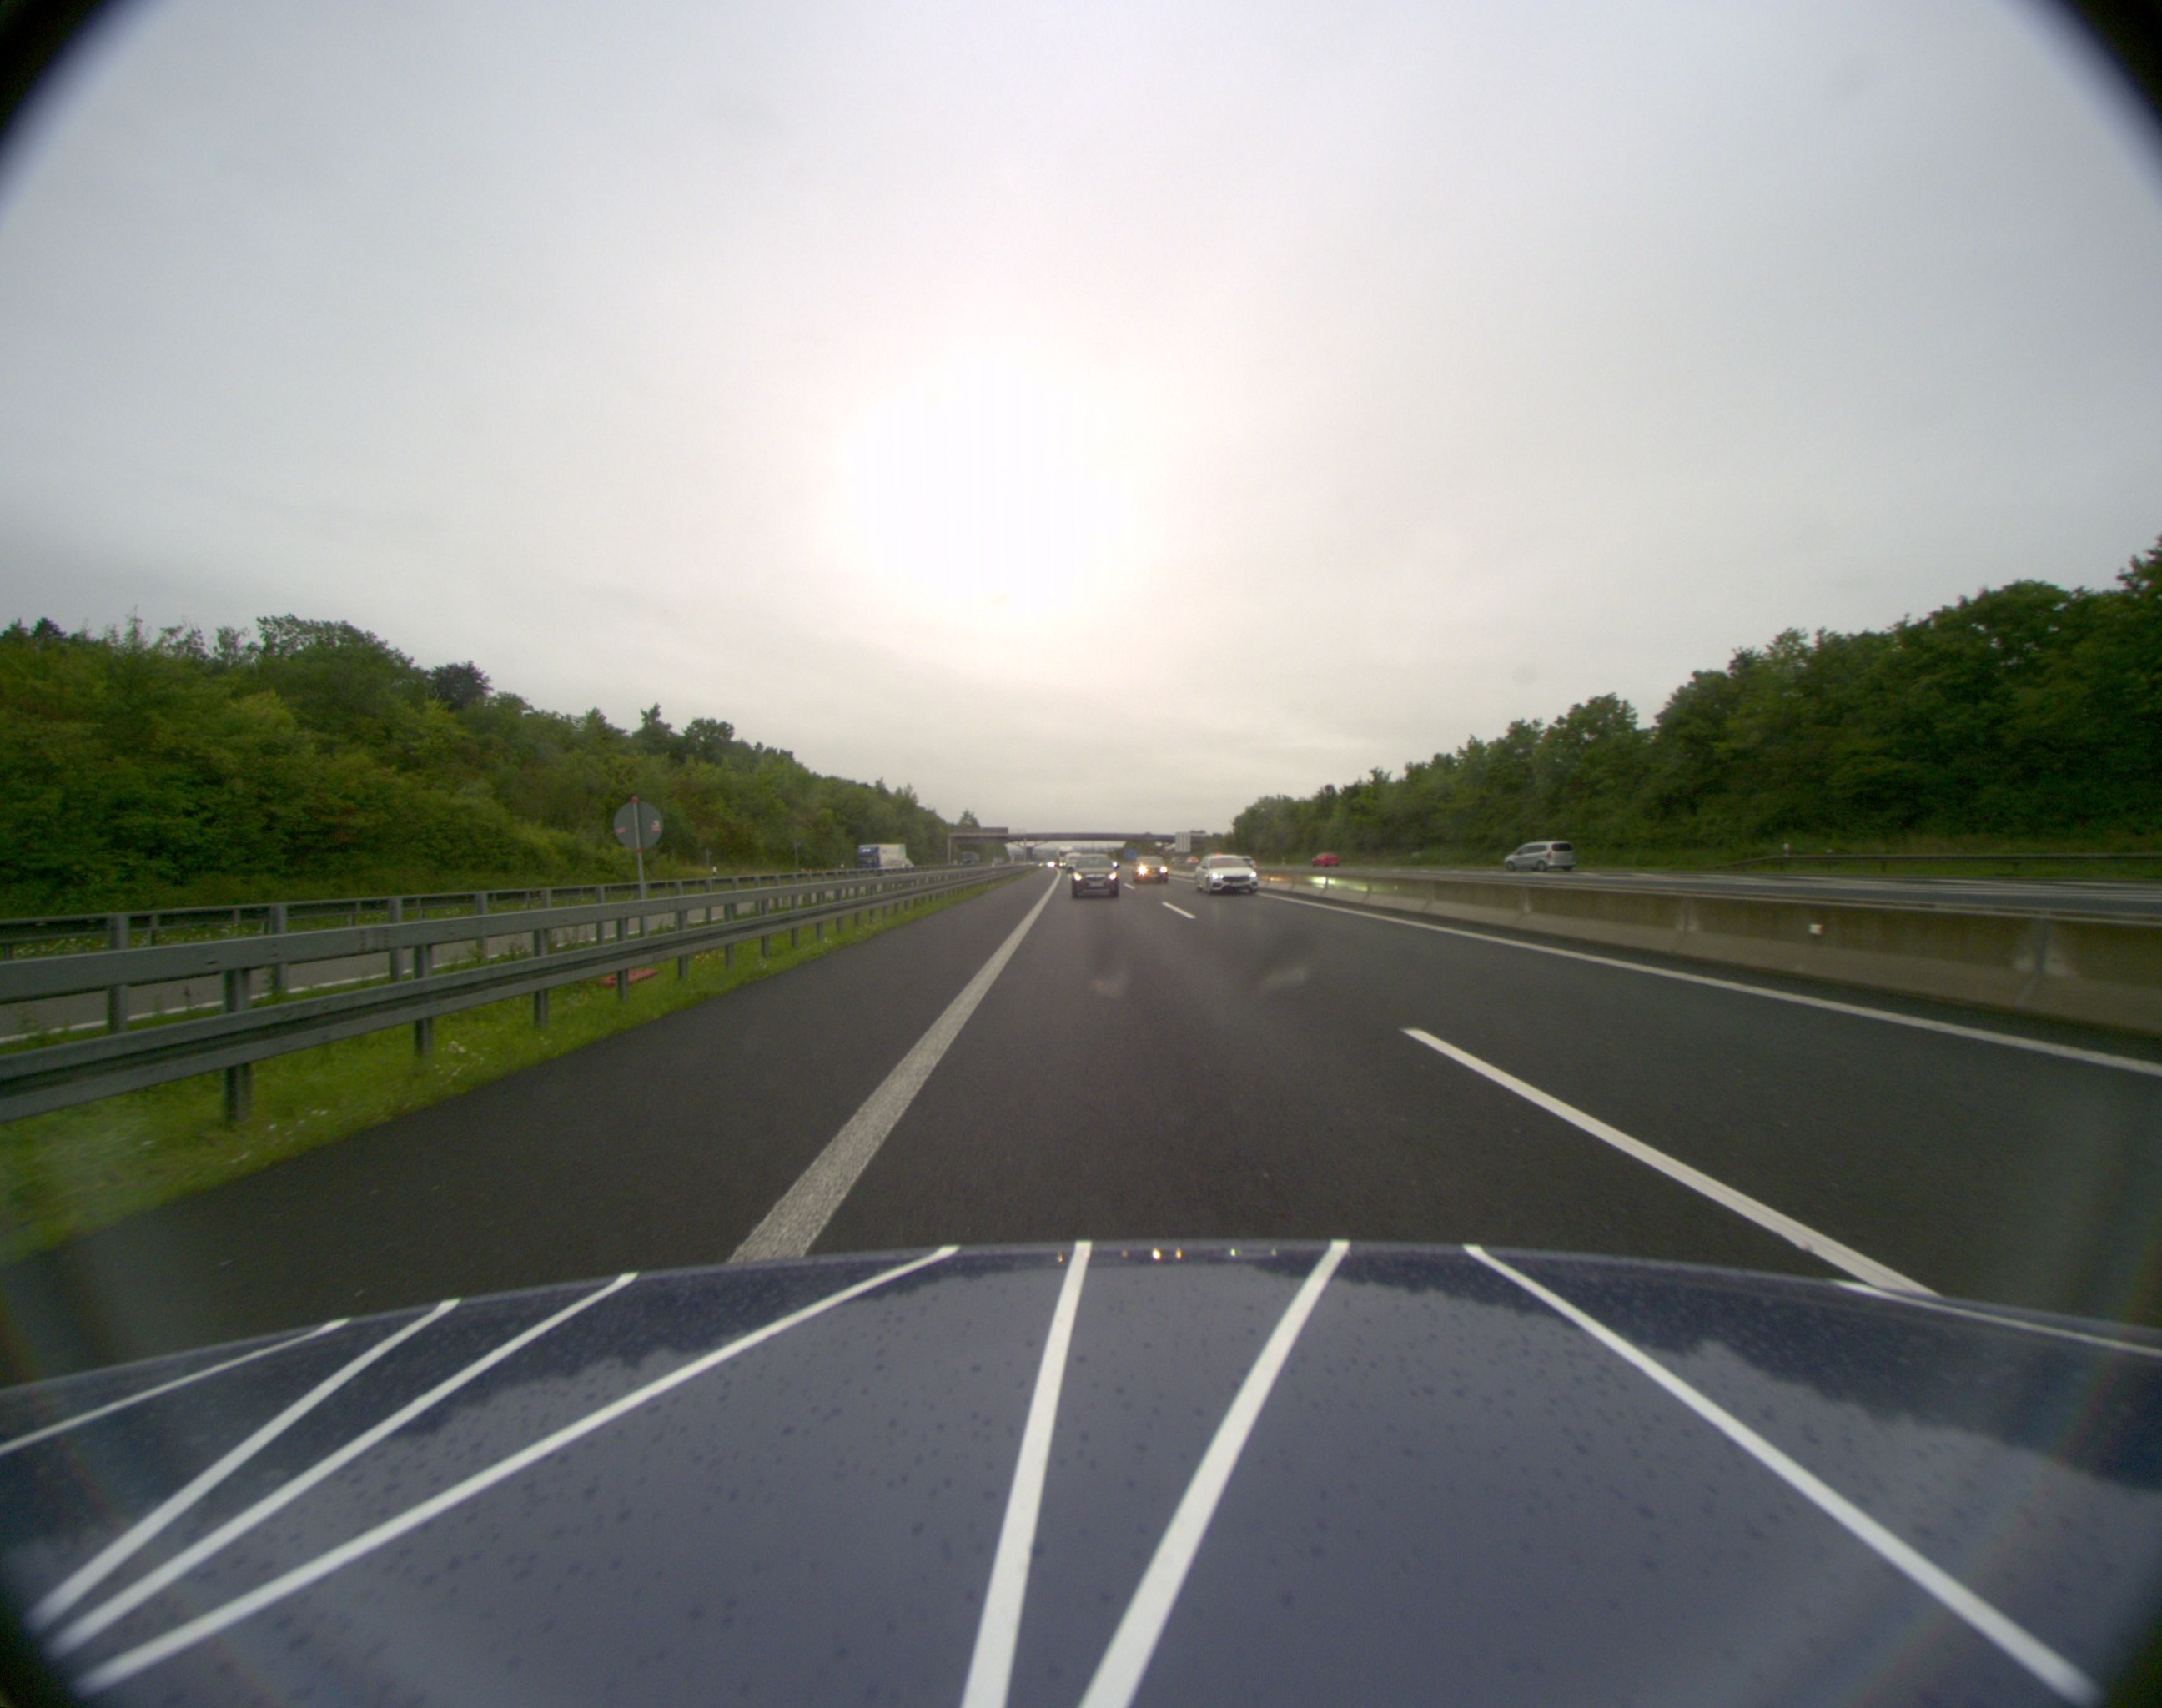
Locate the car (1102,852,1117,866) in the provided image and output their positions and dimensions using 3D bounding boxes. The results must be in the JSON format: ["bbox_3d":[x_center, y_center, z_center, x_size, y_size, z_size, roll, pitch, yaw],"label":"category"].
[{"bbox_3d":[3.634,0.590,97.312,1.716,1.724,3.999,-1,0,-1],"label":"car"}]

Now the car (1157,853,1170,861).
[{"bbox_3d":[17.338,0.682,160.336,2.185,1.625,4.537,-1,0,1],"label":"car"}]

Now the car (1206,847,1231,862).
[{"bbox_3d":[16.121,0.058,89.315,2.185,1.686,4.733,-1,0,3],"label":"car"}]

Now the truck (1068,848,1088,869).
[{"bbox_3d":[-0.285,0.520,86.884,2.175,2.214,5.642,-1,0,1],"label":"truck"}]

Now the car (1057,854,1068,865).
[{"bbox_3d":[-2.951,0.877,123.929,1.716,1.724,3.999,-1,0,-1],"label":"car"}]

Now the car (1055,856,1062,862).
[{"bbox_3d":[-6.633,1.385,225.088,1.917,1.671,4.000,-1,0,1],"label":"car"}]

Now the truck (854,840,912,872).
[{"bbox_3d":[-22.851,0.196,88.359,2.906,3.397,9.289,-1,0,10],"label":"truck"}]

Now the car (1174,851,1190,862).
[{"bbox_3d":[15.946,0.438,120.239,2.185,1.686,5.251,-1,0,3],"label":"car"}]

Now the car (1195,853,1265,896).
[{"bbox_3d":[5.660,0.730,29.342,1.905,1.497,4.114,-1,0,1],"label":"car"}]

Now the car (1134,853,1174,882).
[{"bbox_3d":[4.076,0.741,43.018,1.905,1.497,4.114,-1,0,1],"label":"car"}]

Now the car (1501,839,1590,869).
[{"bbox_3d":[28.276,-0.007,46.464,2.187,1.686,4.565,-1,0,-8],"label":"car"}]

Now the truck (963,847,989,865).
[{"bbox_3d":[-21.599,0.363,156.819,2.908,3.397,13.355,-1,0,3],"label":"truck"}]

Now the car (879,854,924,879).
[{"bbox_3d":[-12.389,0.830,52.737,2.013,1.645,4.472,-1,0,0],"label":"car"}]

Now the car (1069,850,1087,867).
[{"bbox_3d":[-0.291,0.488,79.753,1.825,1.669,4.000,-2,0,1],"label":"car"}]

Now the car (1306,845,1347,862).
[{"bbox_3d":[25.685,-0.019,79.635,2.187,1.686,4.624,-1,0,-10],"label":"car"}]

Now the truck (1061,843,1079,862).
[{"bbox_3d":[-2.065,-0.267,143.445,3.154,3.332,13.098,-2,0,-1],"label":"truck"}]

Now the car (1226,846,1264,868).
[{"bbox_3d":[13.109,0.217,60.911,2.185,1.686,4.865,-1,0,3],"label":"car"}]

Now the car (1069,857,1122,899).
[{"bbox_3d":[0.580,0.888,29.877,1.905,1.497,4.114,-1,0,1],"label":"car"}]
